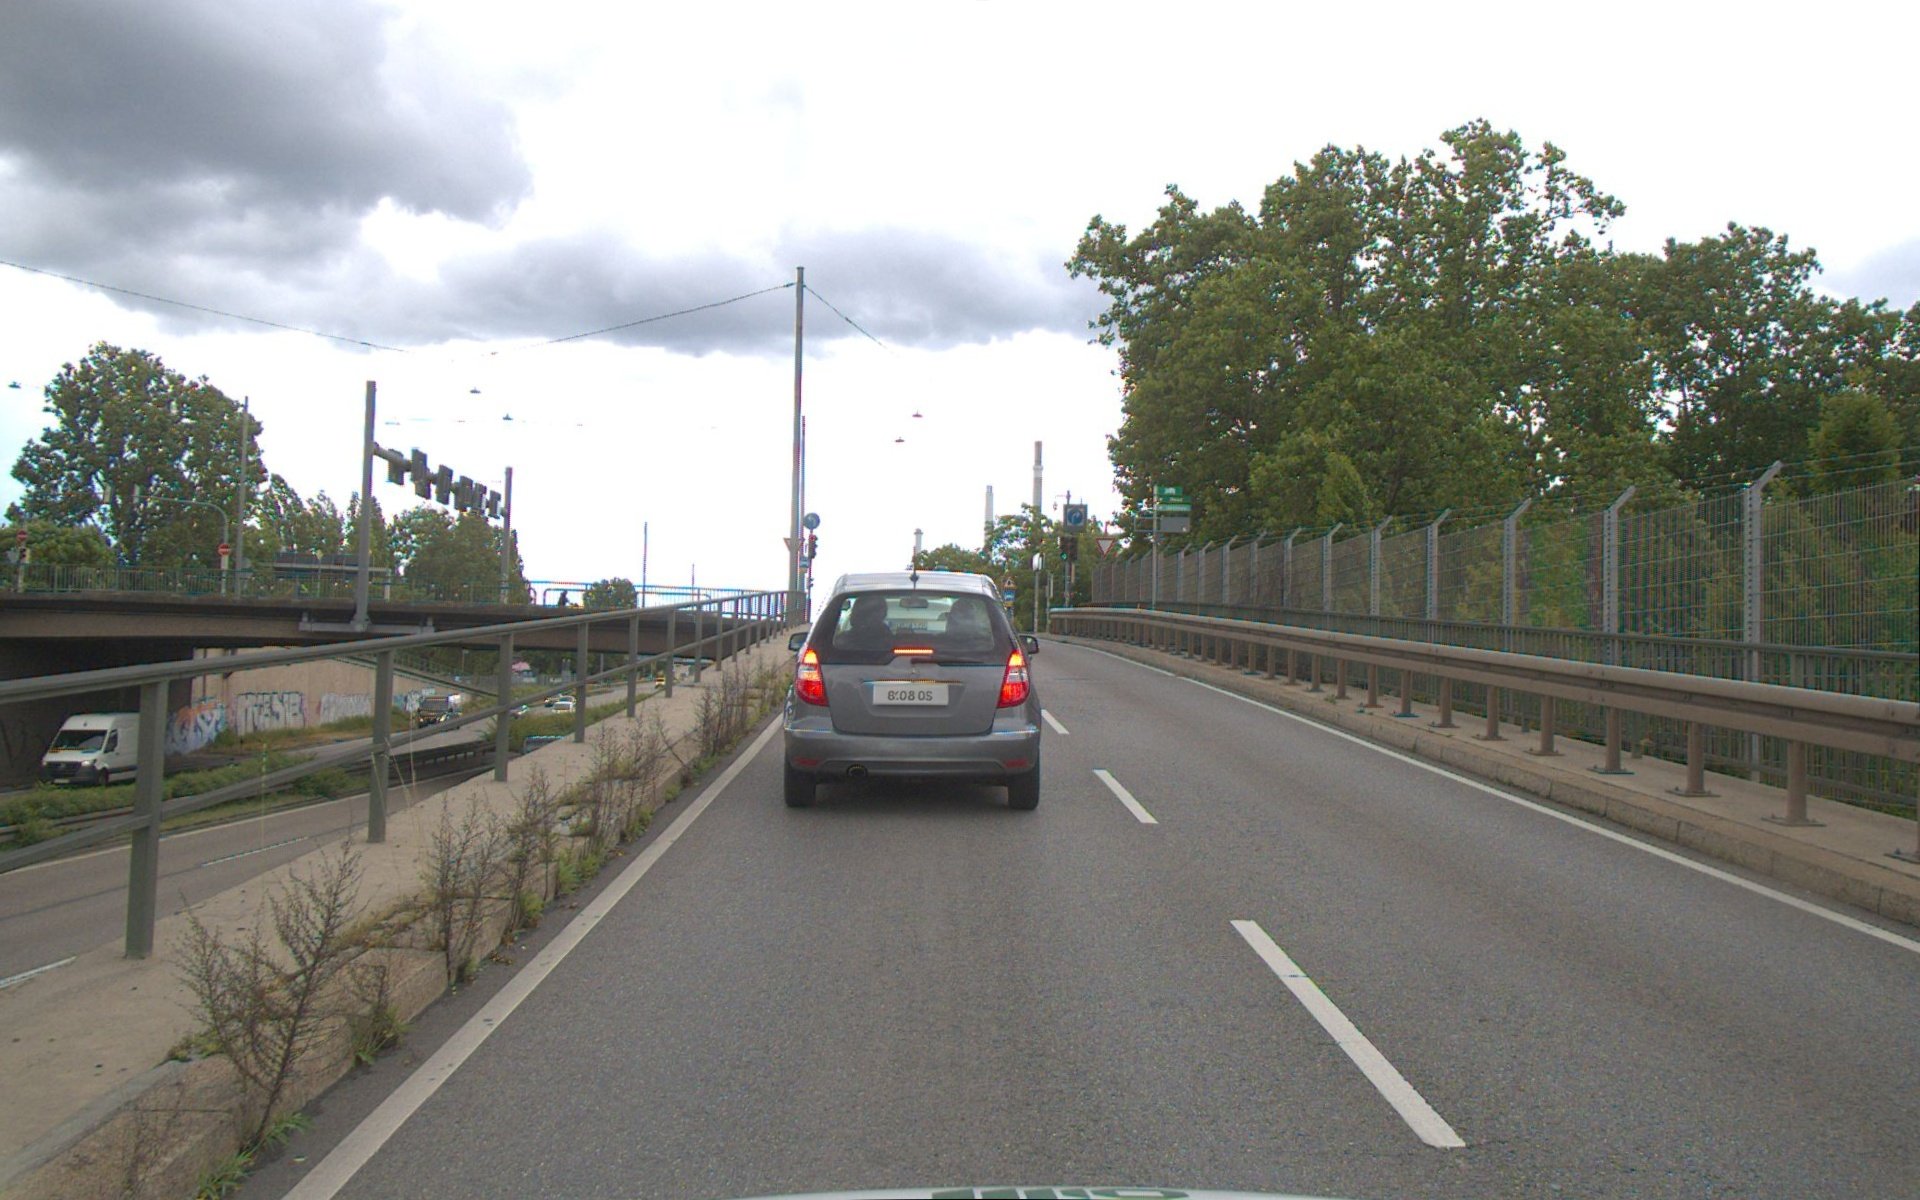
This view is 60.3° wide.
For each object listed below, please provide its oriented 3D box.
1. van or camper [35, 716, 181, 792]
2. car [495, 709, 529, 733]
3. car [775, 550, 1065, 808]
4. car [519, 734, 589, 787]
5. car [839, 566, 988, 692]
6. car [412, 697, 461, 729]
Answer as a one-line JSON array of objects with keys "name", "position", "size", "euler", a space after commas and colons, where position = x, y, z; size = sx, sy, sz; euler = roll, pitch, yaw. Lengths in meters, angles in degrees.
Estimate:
[{"name": "van or camper", "position": [-30.963, 5.546, 60.394], "size": [2.139, 2.500, 6.343], "euler": [1, -3, -3]}, {"name": "car", "position": [-34.729, 9.347, 128.347], "size": [1.956, 1.719, 3.993], "euler": [0, -2, -7]}, {"name": "car", "position": [-0.127, 0.614, 12.514], "size": [1.713, 1.609, 4.086], "euler": [1, -3, 5]}, {"name": "car", "position": [-15.108, 5.945, 61.734], "size": [1.646, 1.766, 3.997], "euler": [0, -3, -1]}, {"name": "car", "position": [-0.653, 0.341, 23.604], "size": [1.953, 1.631, 3.999], "euler": [0, 1, -1]}, {"name": "car", "position": [-36.655, 7.877, 115.988], "size": [2.247, 2.193, 6.170], "euler": [0, -3, -8]}]
